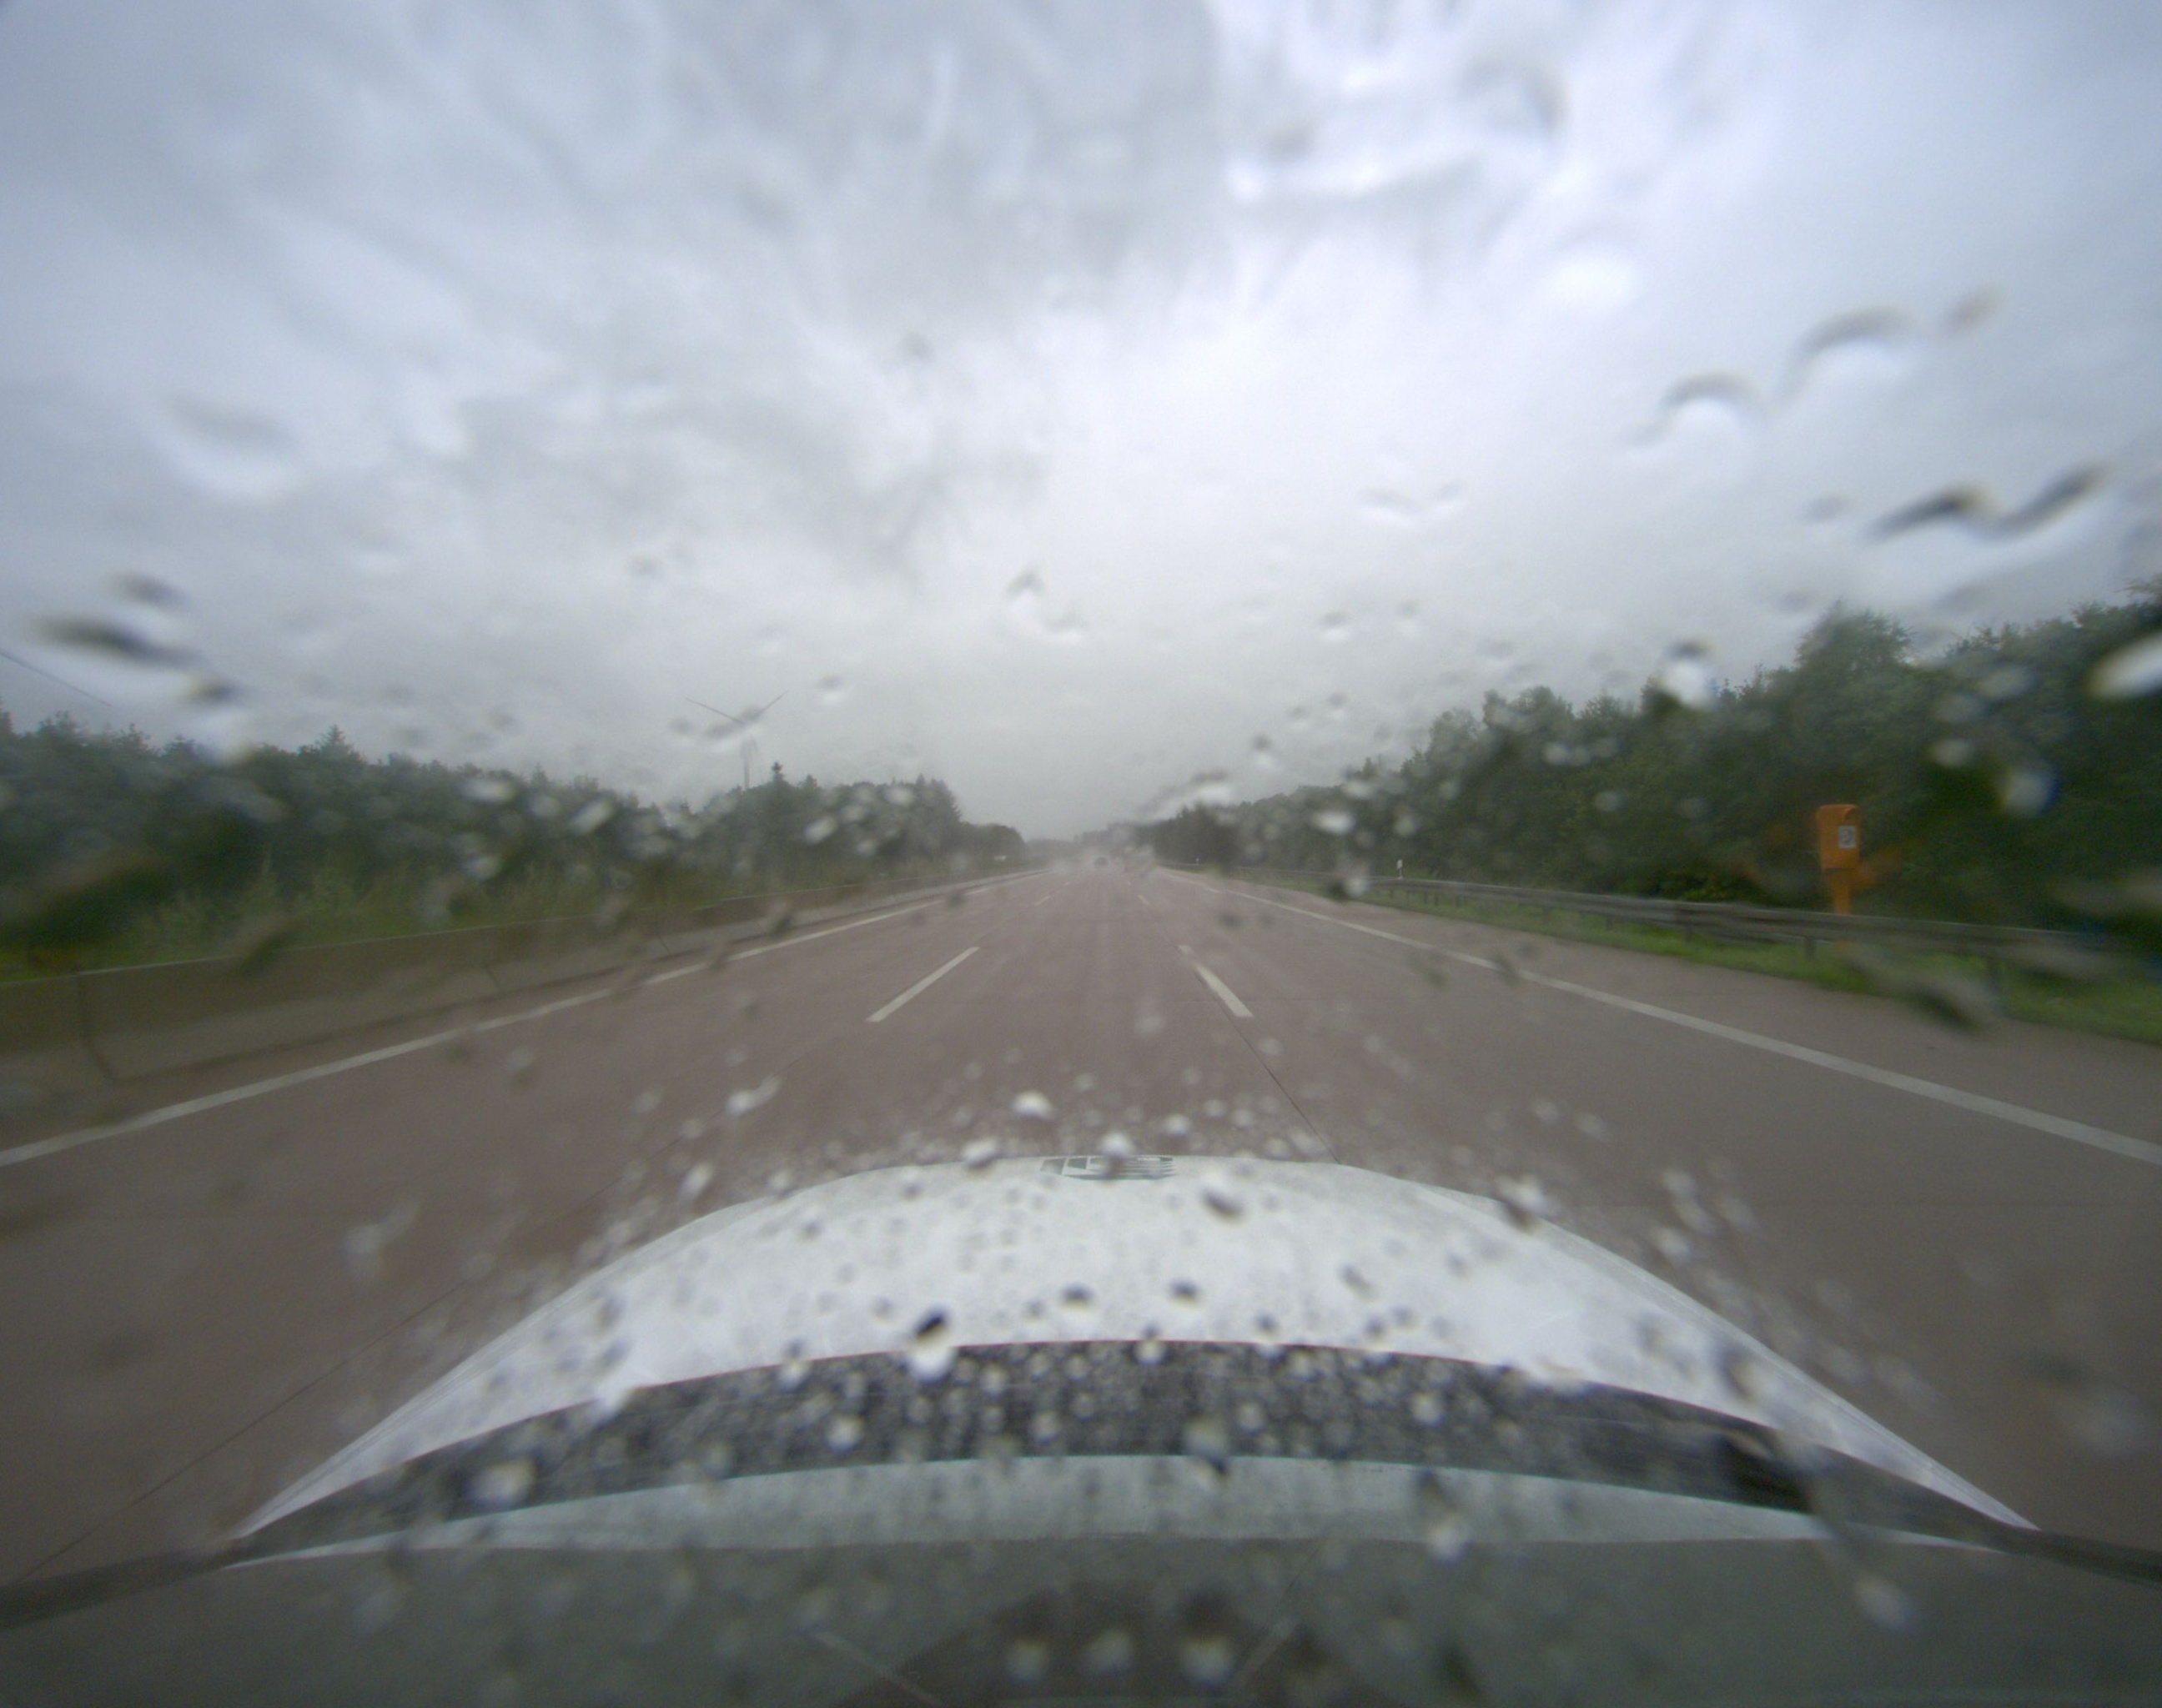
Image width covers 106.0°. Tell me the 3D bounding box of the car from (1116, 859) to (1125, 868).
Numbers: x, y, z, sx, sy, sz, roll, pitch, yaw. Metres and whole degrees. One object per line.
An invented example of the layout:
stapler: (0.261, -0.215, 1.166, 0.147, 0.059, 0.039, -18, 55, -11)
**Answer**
car: (8.365, 1.962, 172.764, 1.929, 1.981, 4.133, -1, 0, 3)

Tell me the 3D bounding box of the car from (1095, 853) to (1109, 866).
car: (2.970, 0.799, 114.010, 1.929, 1.729, 4.133, 0, 0, 3)

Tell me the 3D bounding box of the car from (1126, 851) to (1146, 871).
car: (5.672, 0.681, 84.321, 2.049, 2.000, 4.101, -1, 0, 3)
